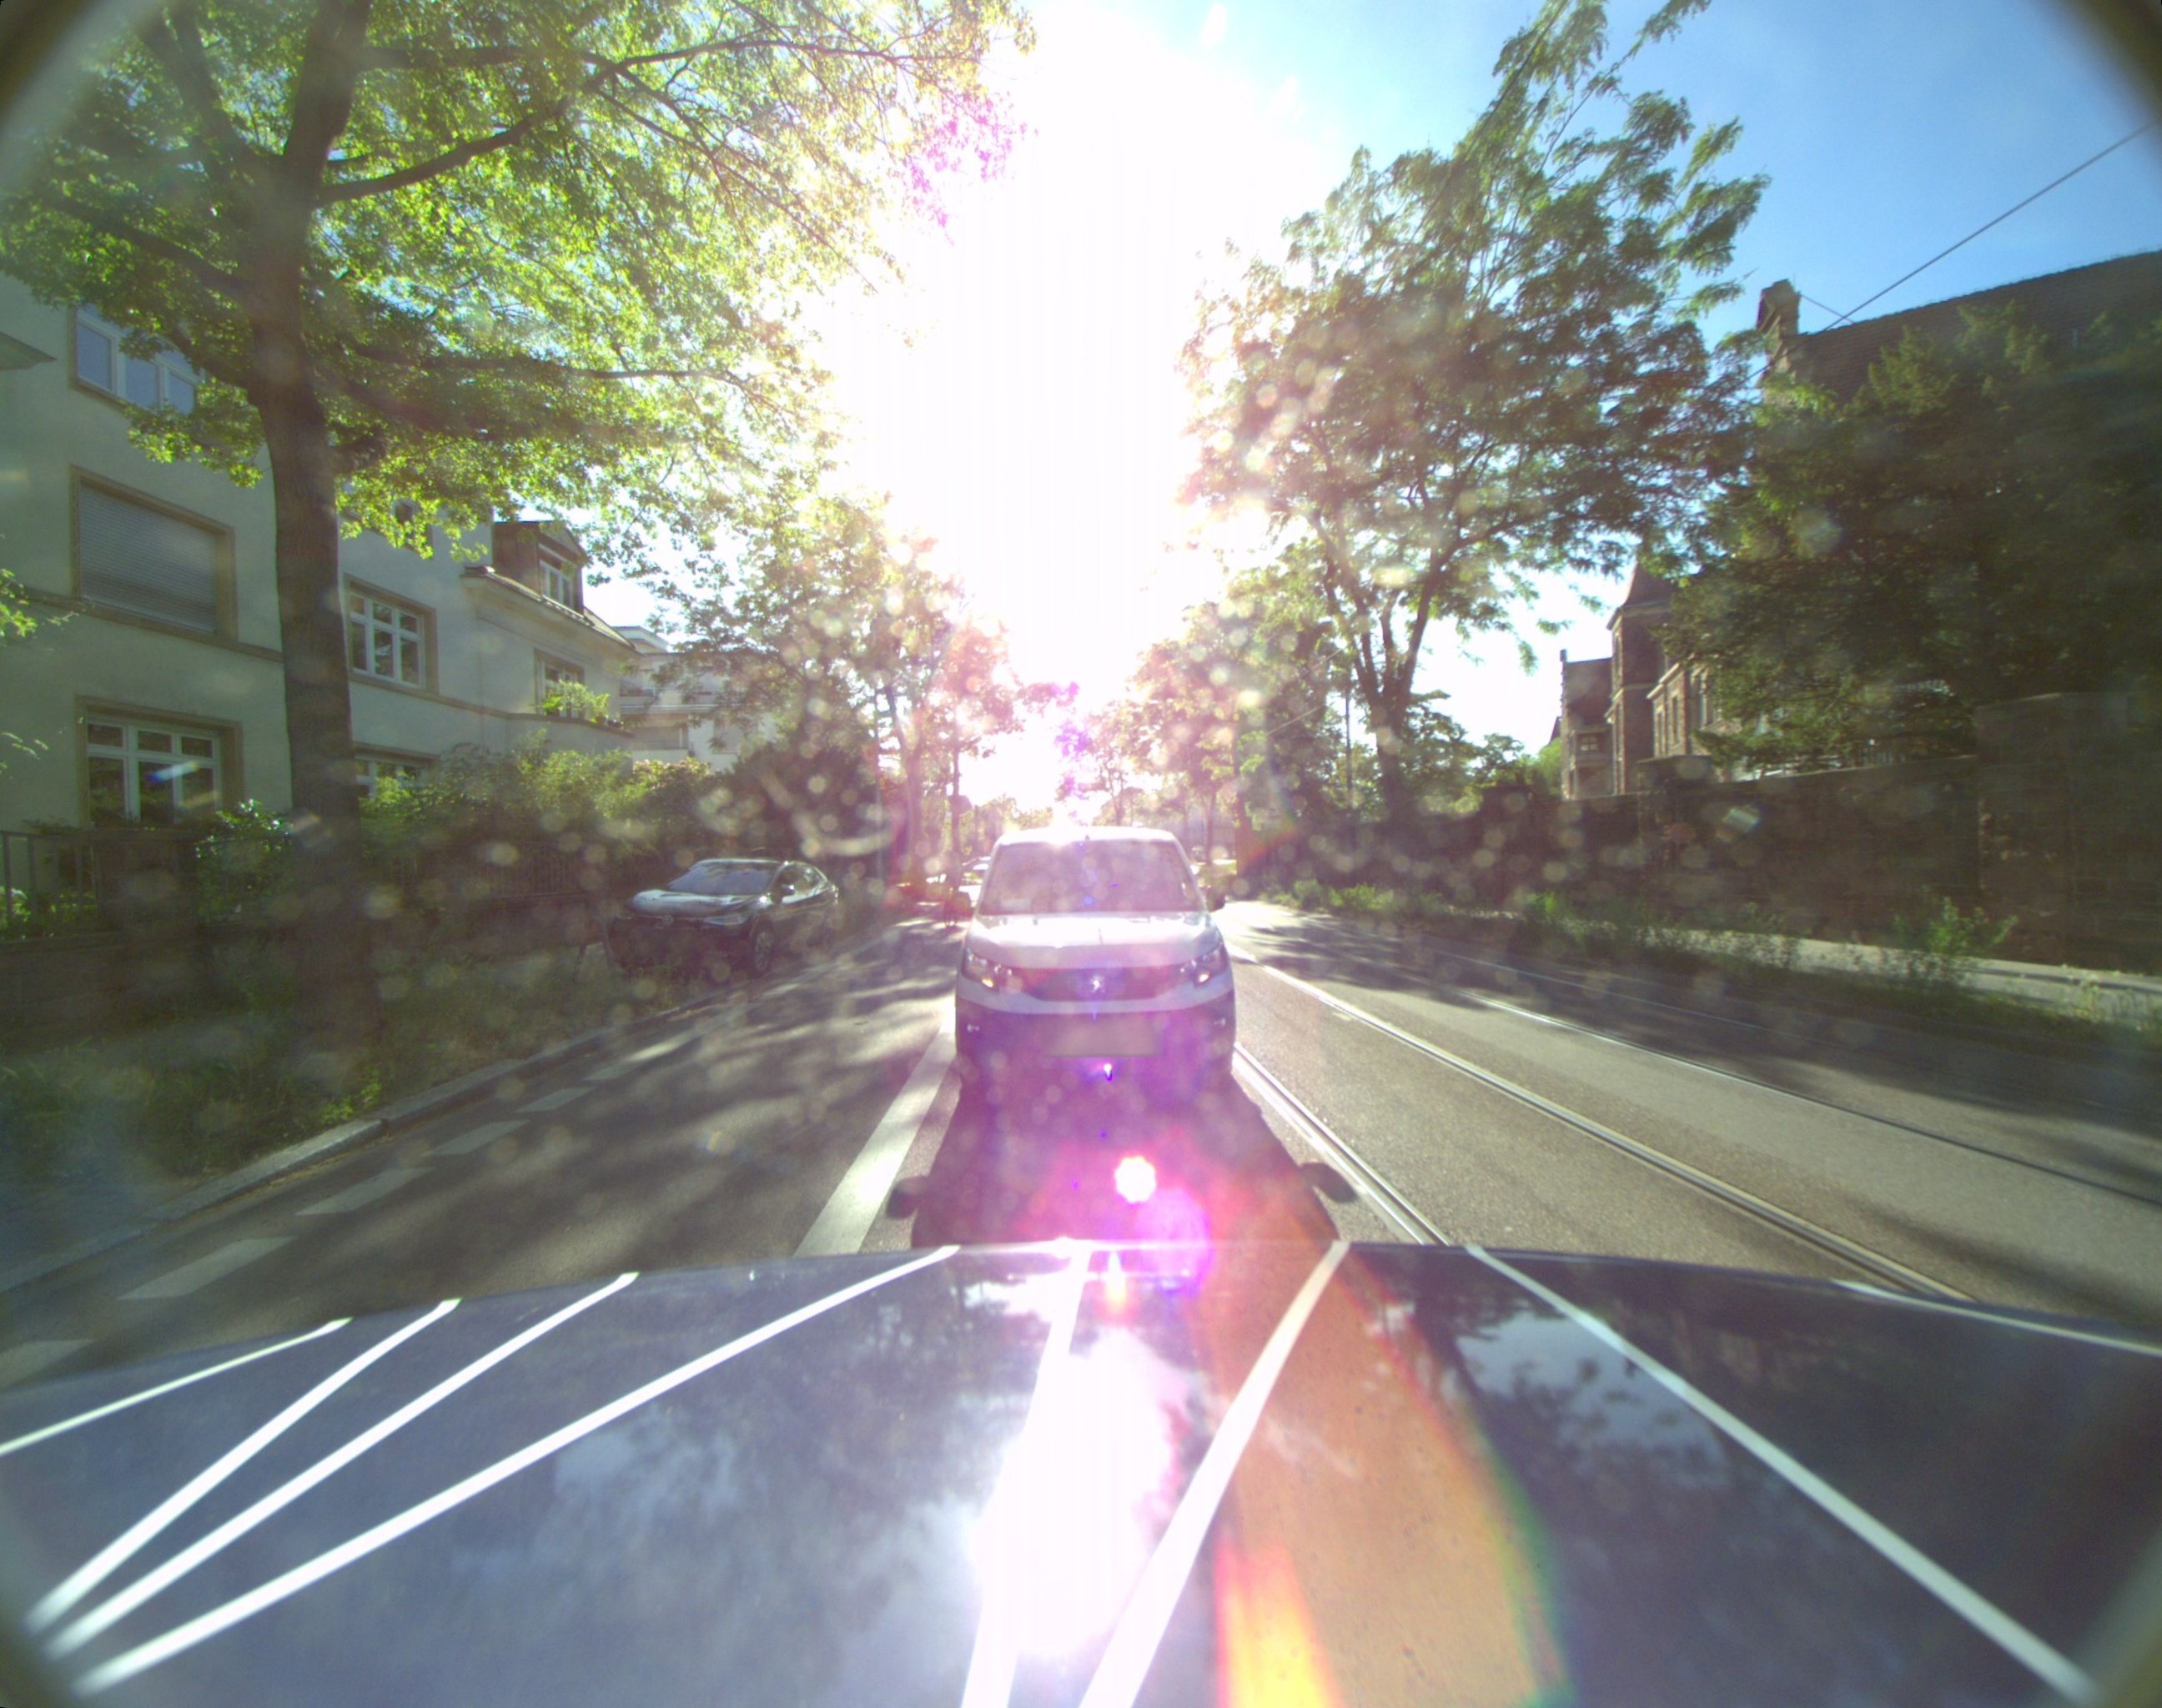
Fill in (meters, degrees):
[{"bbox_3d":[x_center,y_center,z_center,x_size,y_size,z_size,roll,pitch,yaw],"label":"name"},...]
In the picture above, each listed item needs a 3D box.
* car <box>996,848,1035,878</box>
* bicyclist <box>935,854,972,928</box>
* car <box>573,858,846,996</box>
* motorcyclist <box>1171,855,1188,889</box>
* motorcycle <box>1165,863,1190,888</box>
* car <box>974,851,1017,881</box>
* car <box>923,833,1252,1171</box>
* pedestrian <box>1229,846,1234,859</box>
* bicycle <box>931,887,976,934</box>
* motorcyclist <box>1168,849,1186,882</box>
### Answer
[{"bbox_3d":[-4.447,0.583,52.006,2.129,1.884,4.746,-2,0,1],"label":"car"},{"bbox_3d":[-2.939,0.834,17.527,0.677,1.648,0.745,-2,1,1],"label":"bicyclist"},{"bbox_3d":[-5.249,0.932,11.546,1.999,1.665,4.380,1,-1,0],"label":"car"},{"bbox_3d":[4.371,0.786,33.605,0.608,1.507,0.465,-2,1,-8],"label":"motorcyclist"},{"bbox_3d":[4.316,0.949,34.089,0.611,1.087,1.855,-2,0,-7],"label":"motorcycle"},{"bbox_3d":[-5.038,0.662,45.219,1.823,1.630,4.001,-2,0,4],"label":"car"},{"bbox_3d":[0.028,0.799,6.130,1.768,1.812,3.999,-1,0,0],"label":"car"},{"bbox_3d":[26.934,-0.307,135.716,0.767,2.353,0.927,-2,1,17],"label":"pedestrian"},{"bbox_3d":[-2.929,1.274,17.580,0.677,0.920,1.885,-2,0,1],"label":"bicycle"},{"bbox_3d":[4.301,0.502,34.089,0.686,1.432,0.446,-2,1,-6],"label":"motorcyclist"}]
